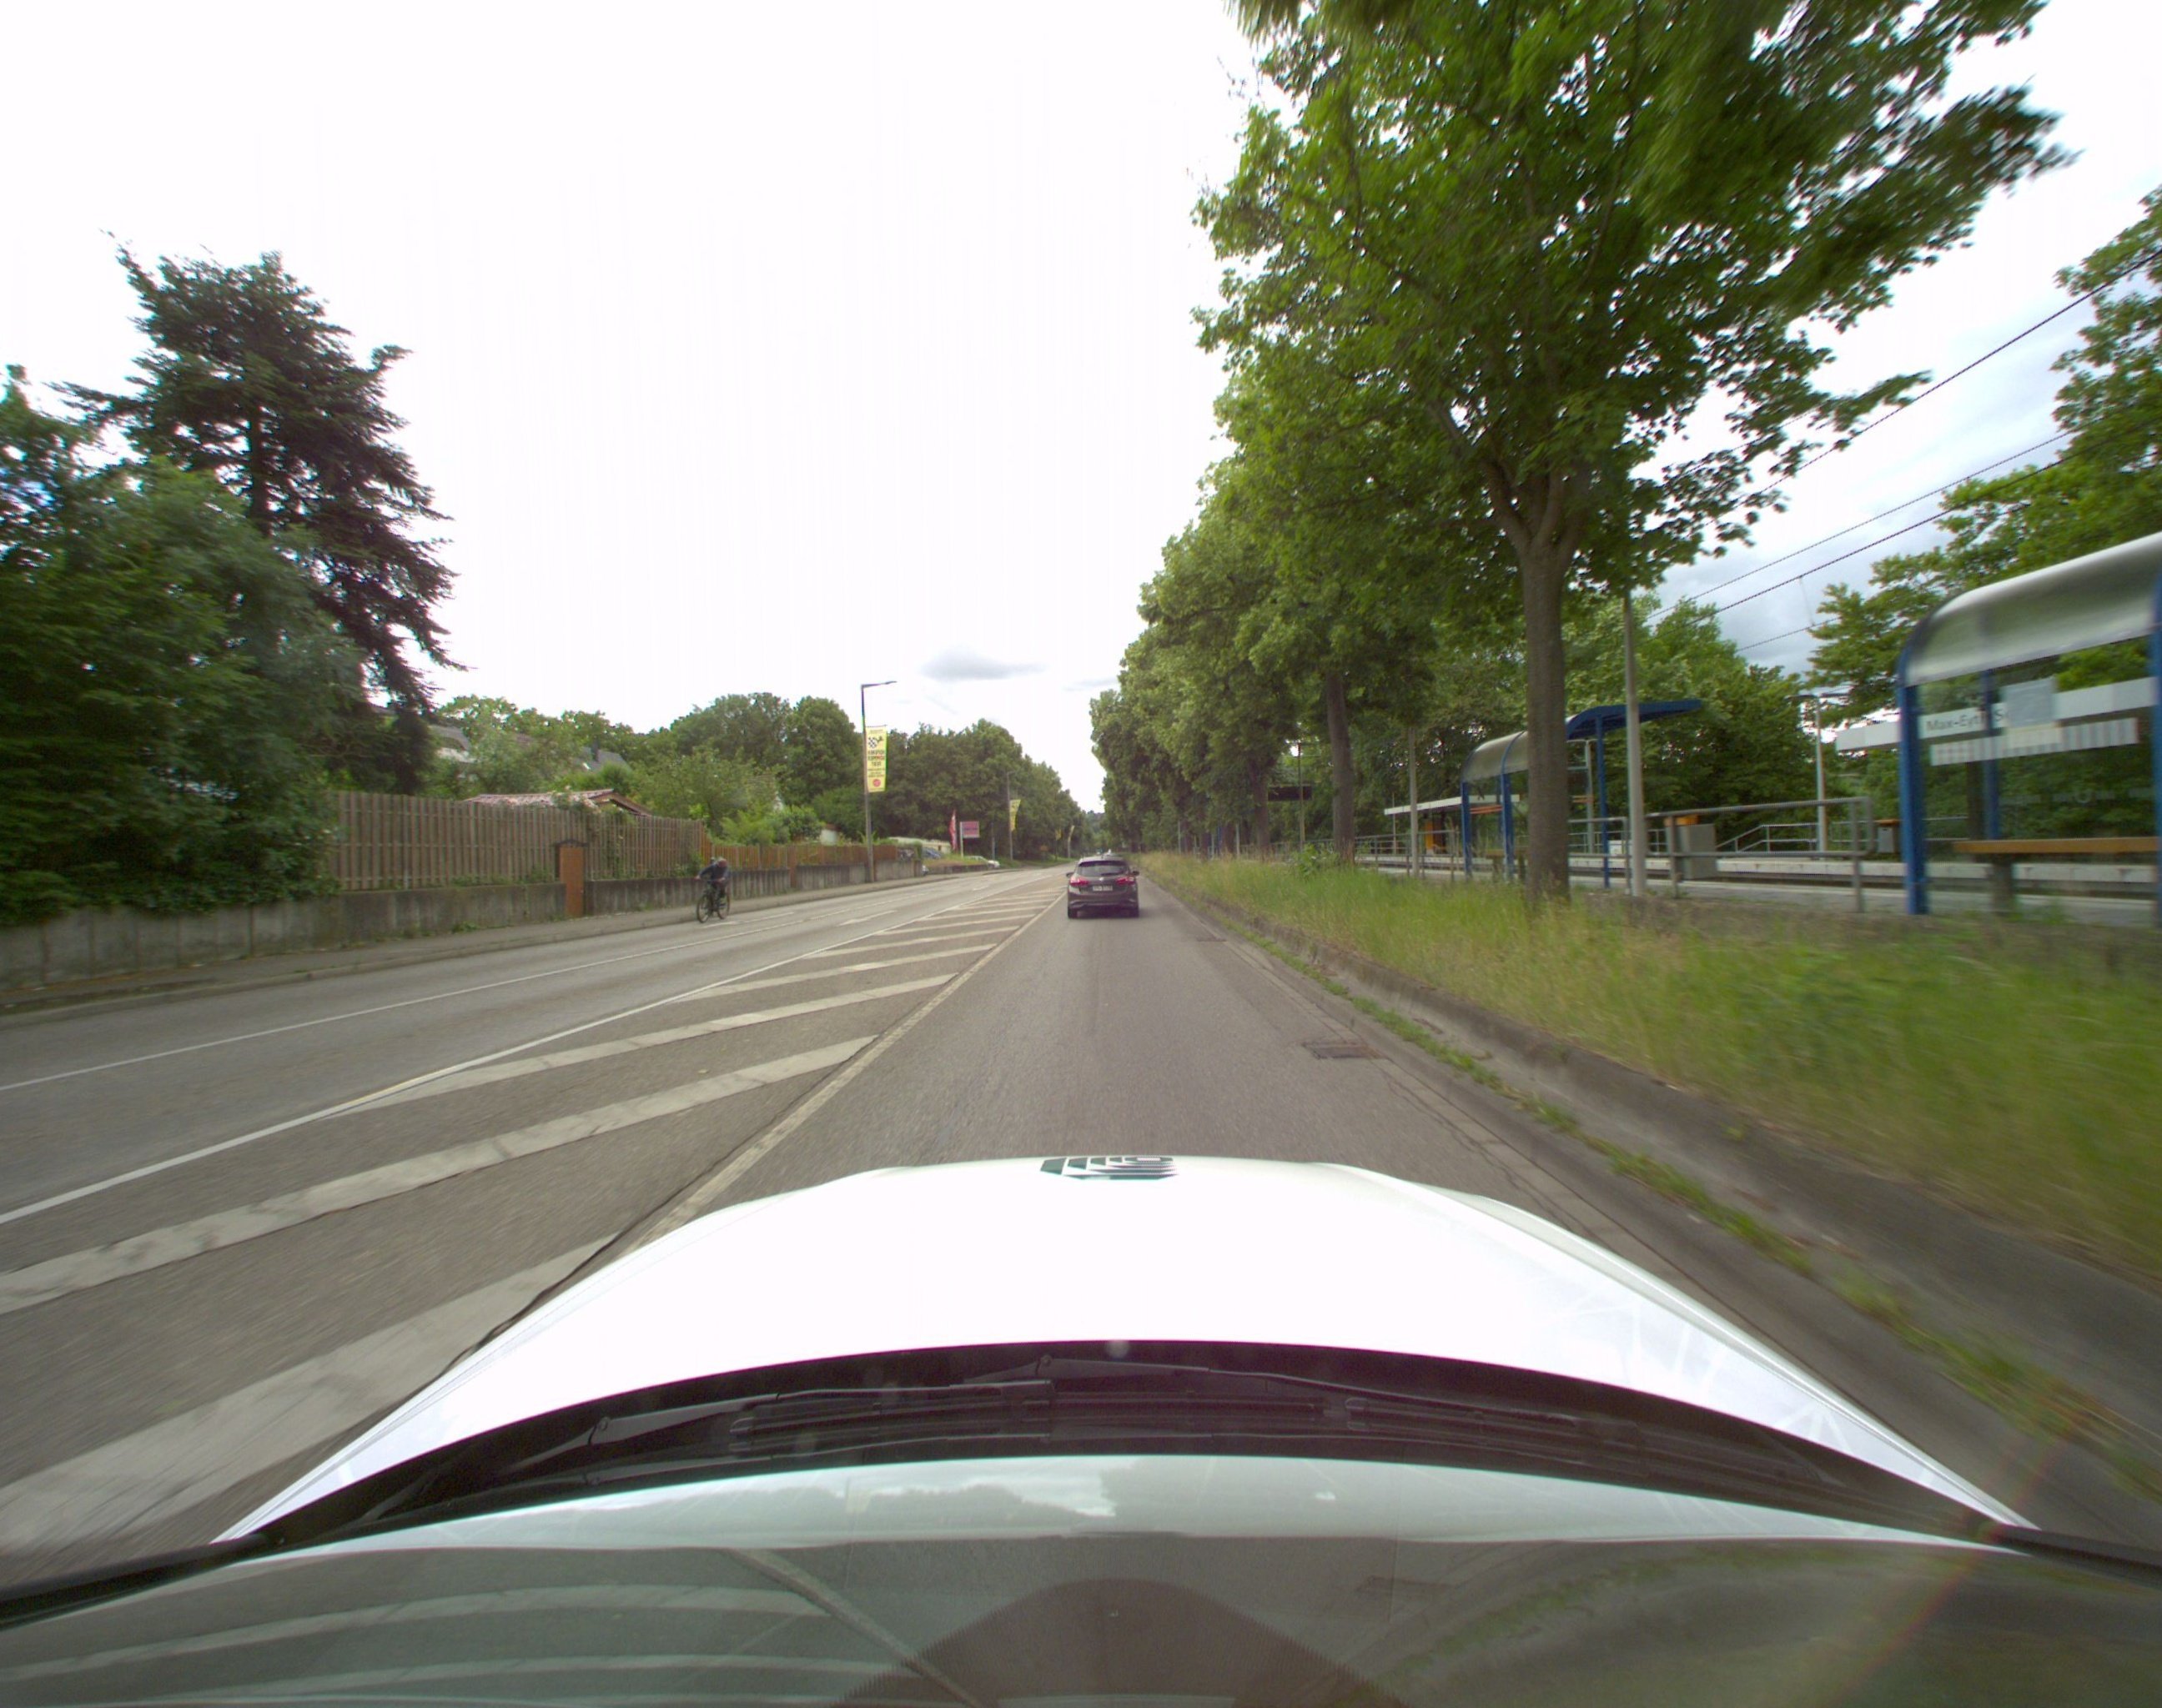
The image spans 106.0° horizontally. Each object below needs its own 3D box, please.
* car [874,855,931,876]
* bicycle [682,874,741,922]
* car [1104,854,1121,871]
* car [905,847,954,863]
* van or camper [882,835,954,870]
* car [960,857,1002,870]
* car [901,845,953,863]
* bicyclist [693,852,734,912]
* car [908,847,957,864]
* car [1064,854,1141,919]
[{"bbox_3d":[-13.947,0.901,63.816,3.970,1.617,2.001,0,-1,3],"label":"car"},{"bbox_3d":[-9.648,1.126,21.376,0.640,1.145,2.146,0,0,-2],"label":"bicycle"},{"bbox_3d":[2.917,0.754,74.861,1.496,1.528,3.675,-1,0,4],"label":"car"},{"bbox_3d":[-13.237,0.118,71.306,3.966,1.411,1.536,0,-1,6],"label":"car"},{"bbox_3d":[-17.892,-0.180,89.556,7.114,3.371,2.798,3,0,2],"label":"van or camper"},{"bbox_3d":[-10.989,1.036,89.581,4.361,1.441,1.961,0,0,-1],"label":"car"},{"bbox_3d":[-13.081,0.042,69.432,3.966,1.497,1.862,0,-1,6],"label":"car"},{"bbox_3d":[-9.576,0.705,21.257,0.640,1.535,0.978,0,0,-3],"label":"bicyclist"},{"bbox_3d":[-13.357,0.155,73.269,3.966,1.492,1.650,0,-1,6],"label":"car"},{"bbox_3d":[0.644,0.788,21.444,1.829,1.528,3.933,-1,0,4],"label":"car"}]
